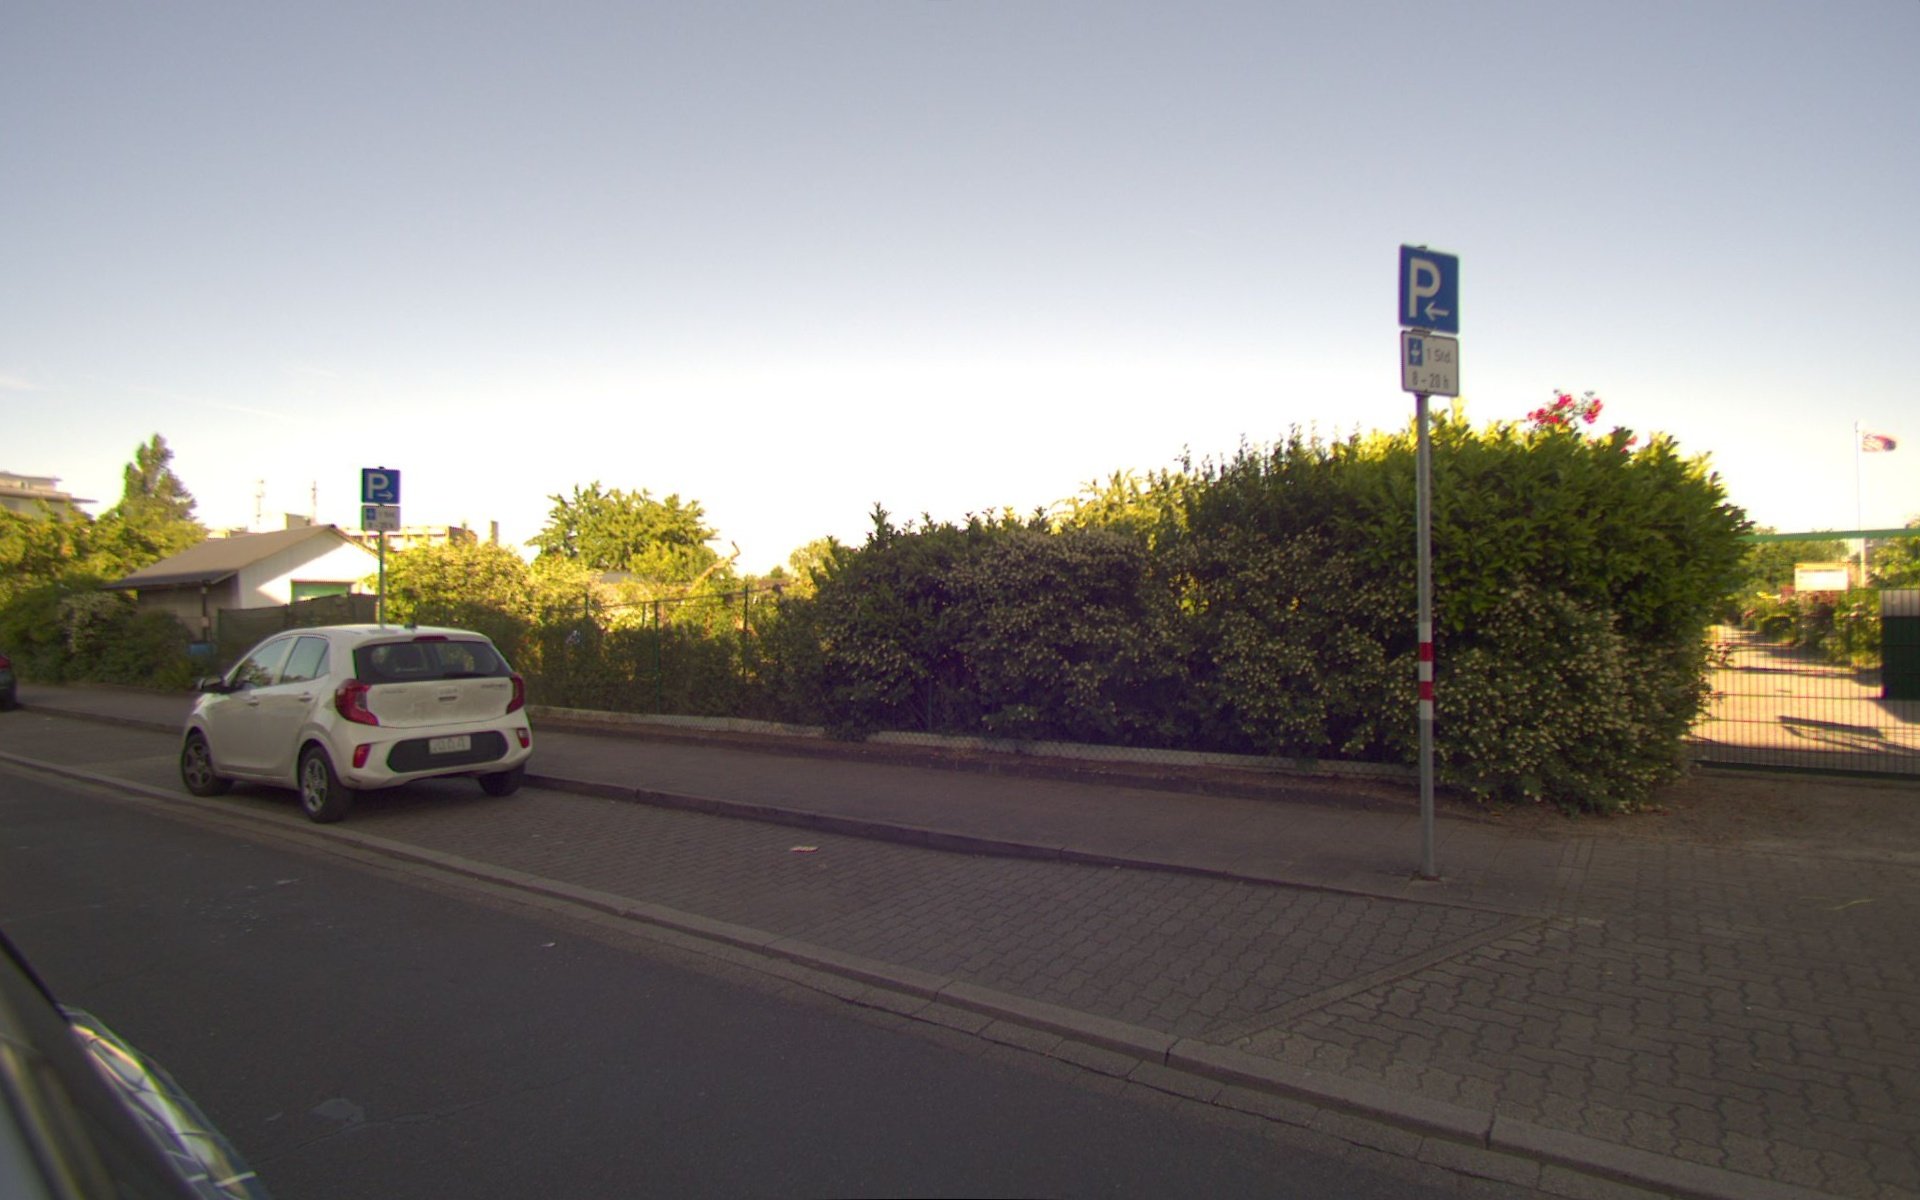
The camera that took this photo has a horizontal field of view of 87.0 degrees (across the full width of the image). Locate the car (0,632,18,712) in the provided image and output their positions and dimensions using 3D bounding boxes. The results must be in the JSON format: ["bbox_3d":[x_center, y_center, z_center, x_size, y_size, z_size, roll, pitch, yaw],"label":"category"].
[{"bbox_3d":[-19.566,1.386,19.104,4.506,1.434,1.681,-2,0,35],"label":"car"}]

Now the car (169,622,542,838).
[{"bbox_3d":[-5.280,0.969,8.722,3.393,1.499,1.514,-2,-1,35],"label":"car"}]
